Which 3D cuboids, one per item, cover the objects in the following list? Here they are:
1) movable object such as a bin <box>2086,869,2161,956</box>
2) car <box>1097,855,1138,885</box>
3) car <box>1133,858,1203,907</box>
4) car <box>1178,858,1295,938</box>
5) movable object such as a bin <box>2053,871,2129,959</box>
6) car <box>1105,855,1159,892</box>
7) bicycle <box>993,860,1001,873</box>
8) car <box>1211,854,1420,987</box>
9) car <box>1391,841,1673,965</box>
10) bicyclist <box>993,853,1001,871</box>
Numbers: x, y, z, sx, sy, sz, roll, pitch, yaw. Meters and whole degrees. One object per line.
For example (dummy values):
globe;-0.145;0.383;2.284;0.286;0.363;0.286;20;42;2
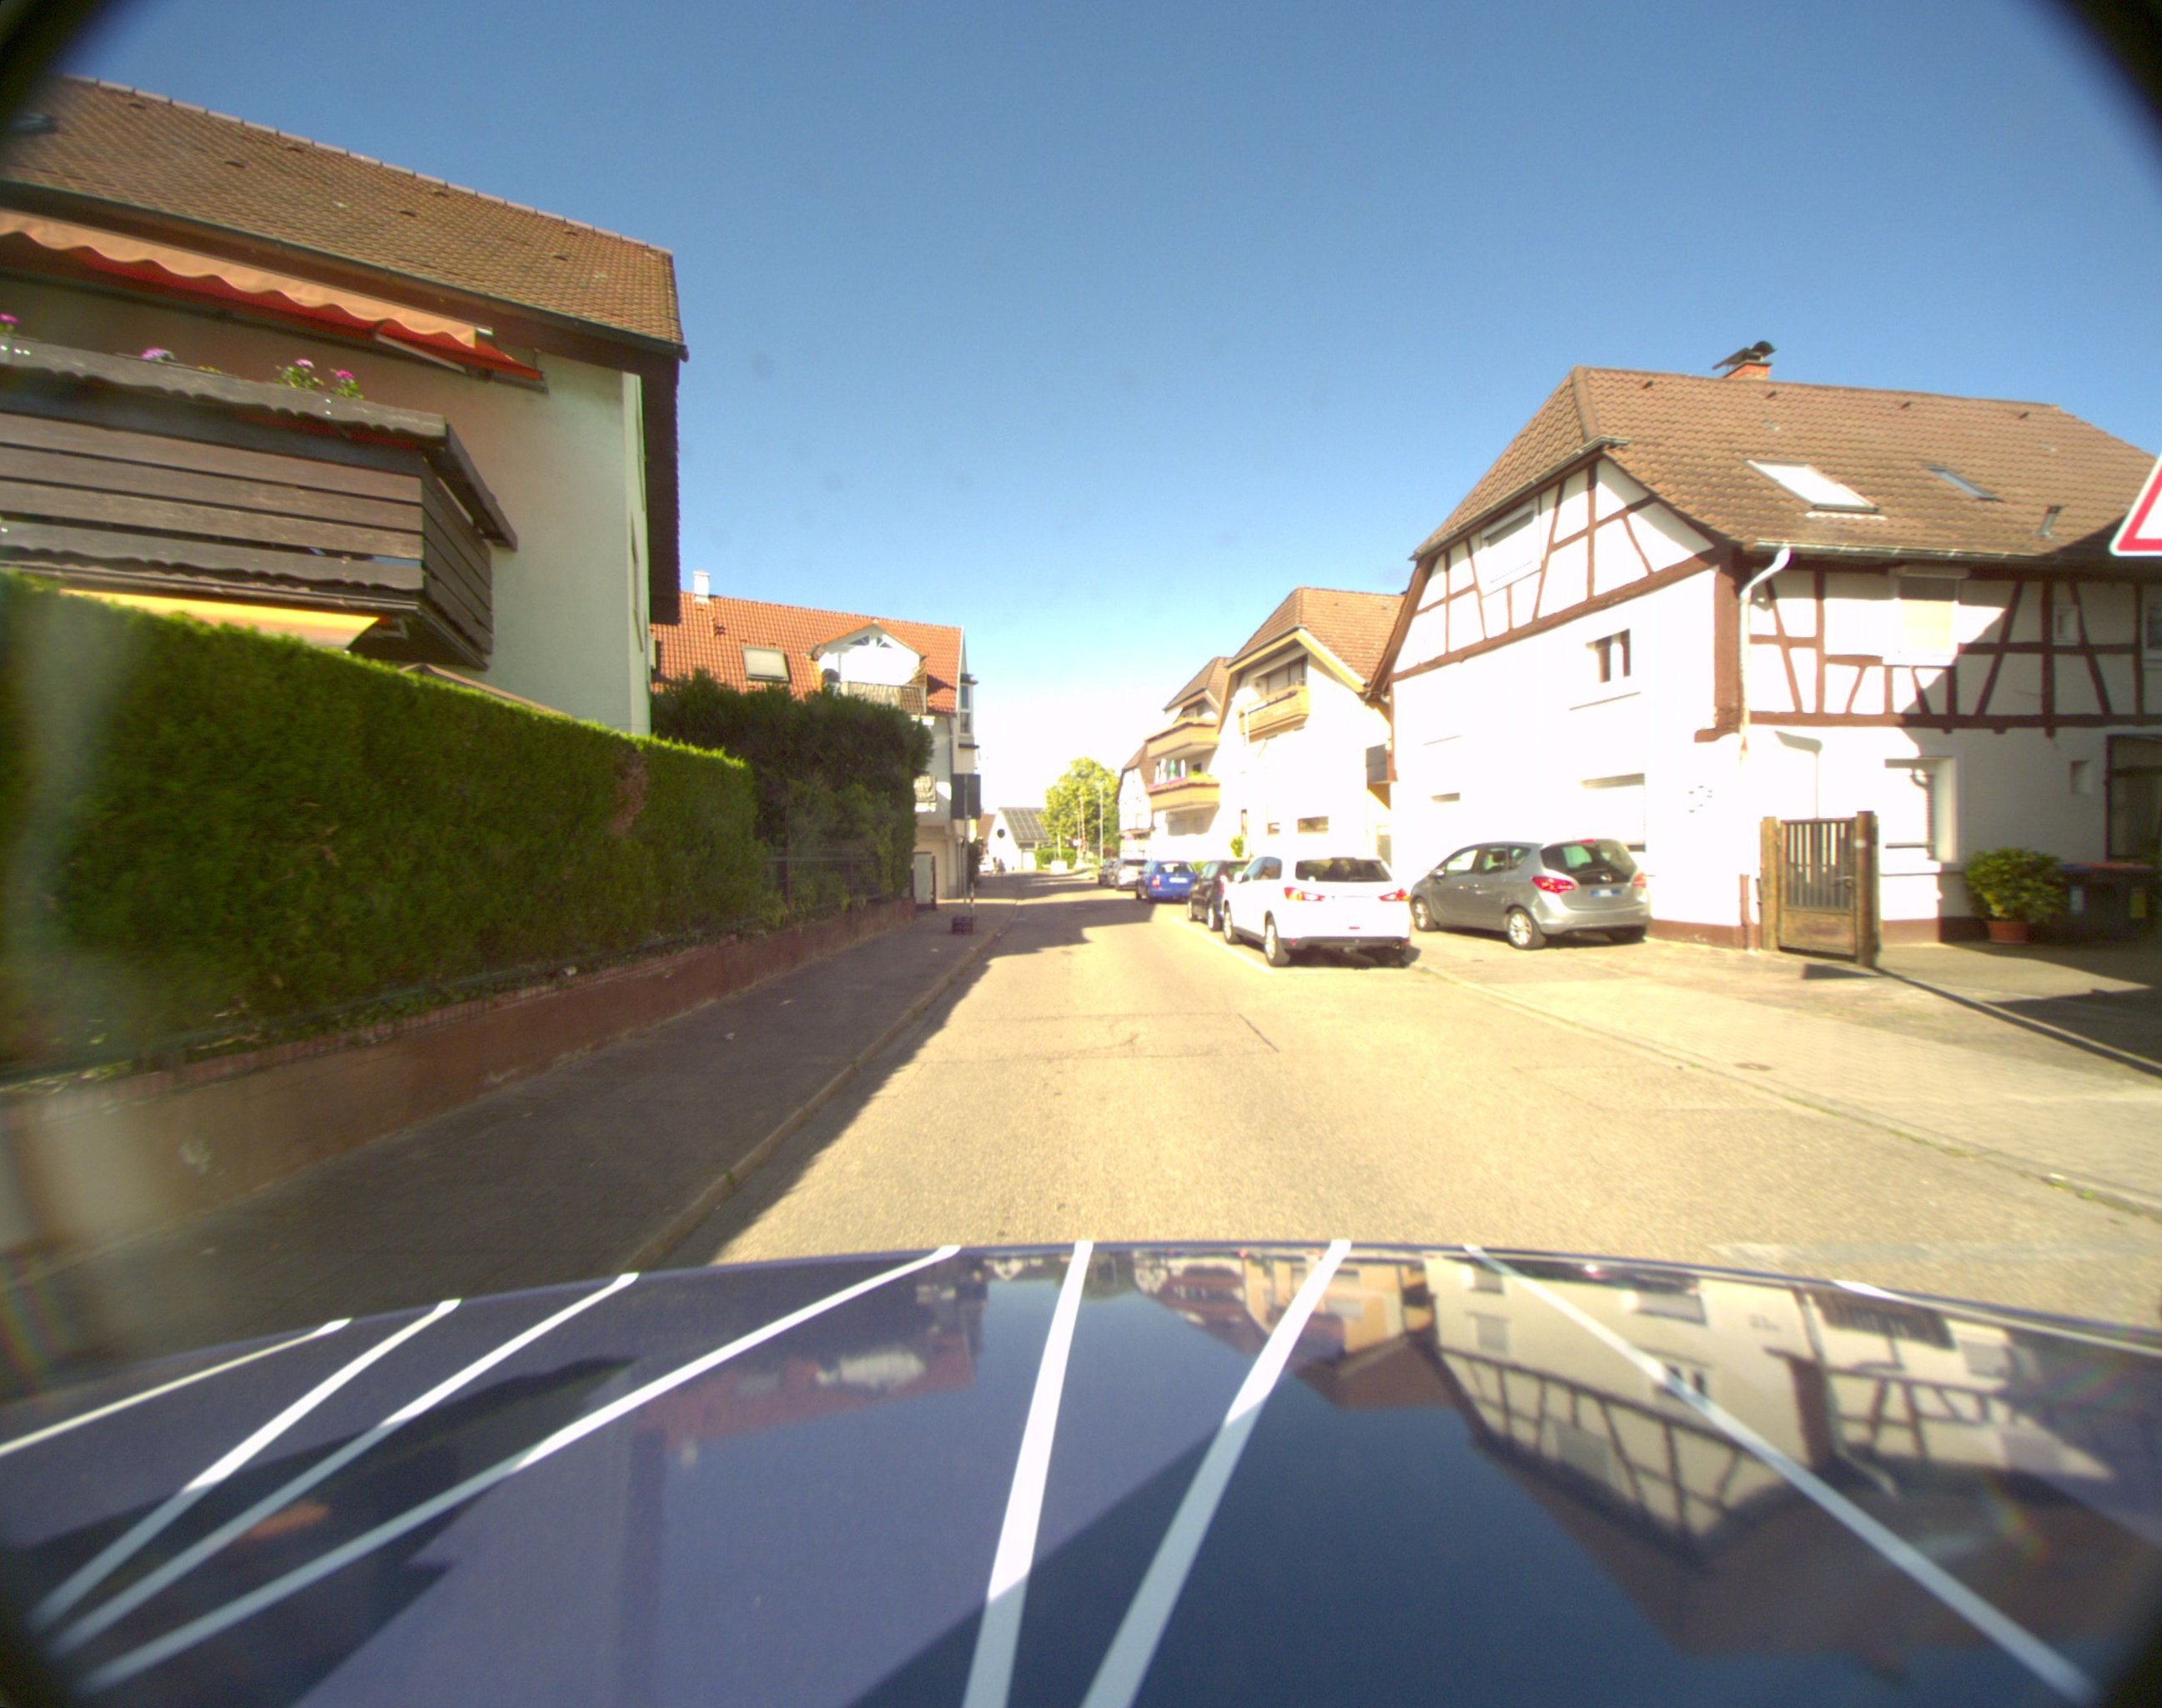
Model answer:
movable object such as a bin;14.427;0.798;10.509;0.493;1.153;0.459;-1;1;-10
car;1.861;0.823;39.754;1.628;1.468;3.613;0;0;-6
car;2.836;0.889;25.454;1.623;1.431;3.954;-1;1;-4
car;3.242;0.856;16.523;1.660;1.498;3.683;0;0;-2
movable object such as a bin;13.810;0.815;10.396;0.493;1.153;0.459;-1;1;-10
car;2.228;0.825;34.280;1.764;1.547;3.998;0;0;-6
bicycle;-7.947;1.178;71.806;0.640;1.175;2.019;-1;0;-12
car;3.258;0.822;11.438;1.727;1.609;4.111;0;0;-2
car;6.755;0.634;11.982;1.647;1.577;4.109;-1;0;-7
bicyclist;-7.930;0.730;71.822;0.644;1.655;0.604;4;1;-11
